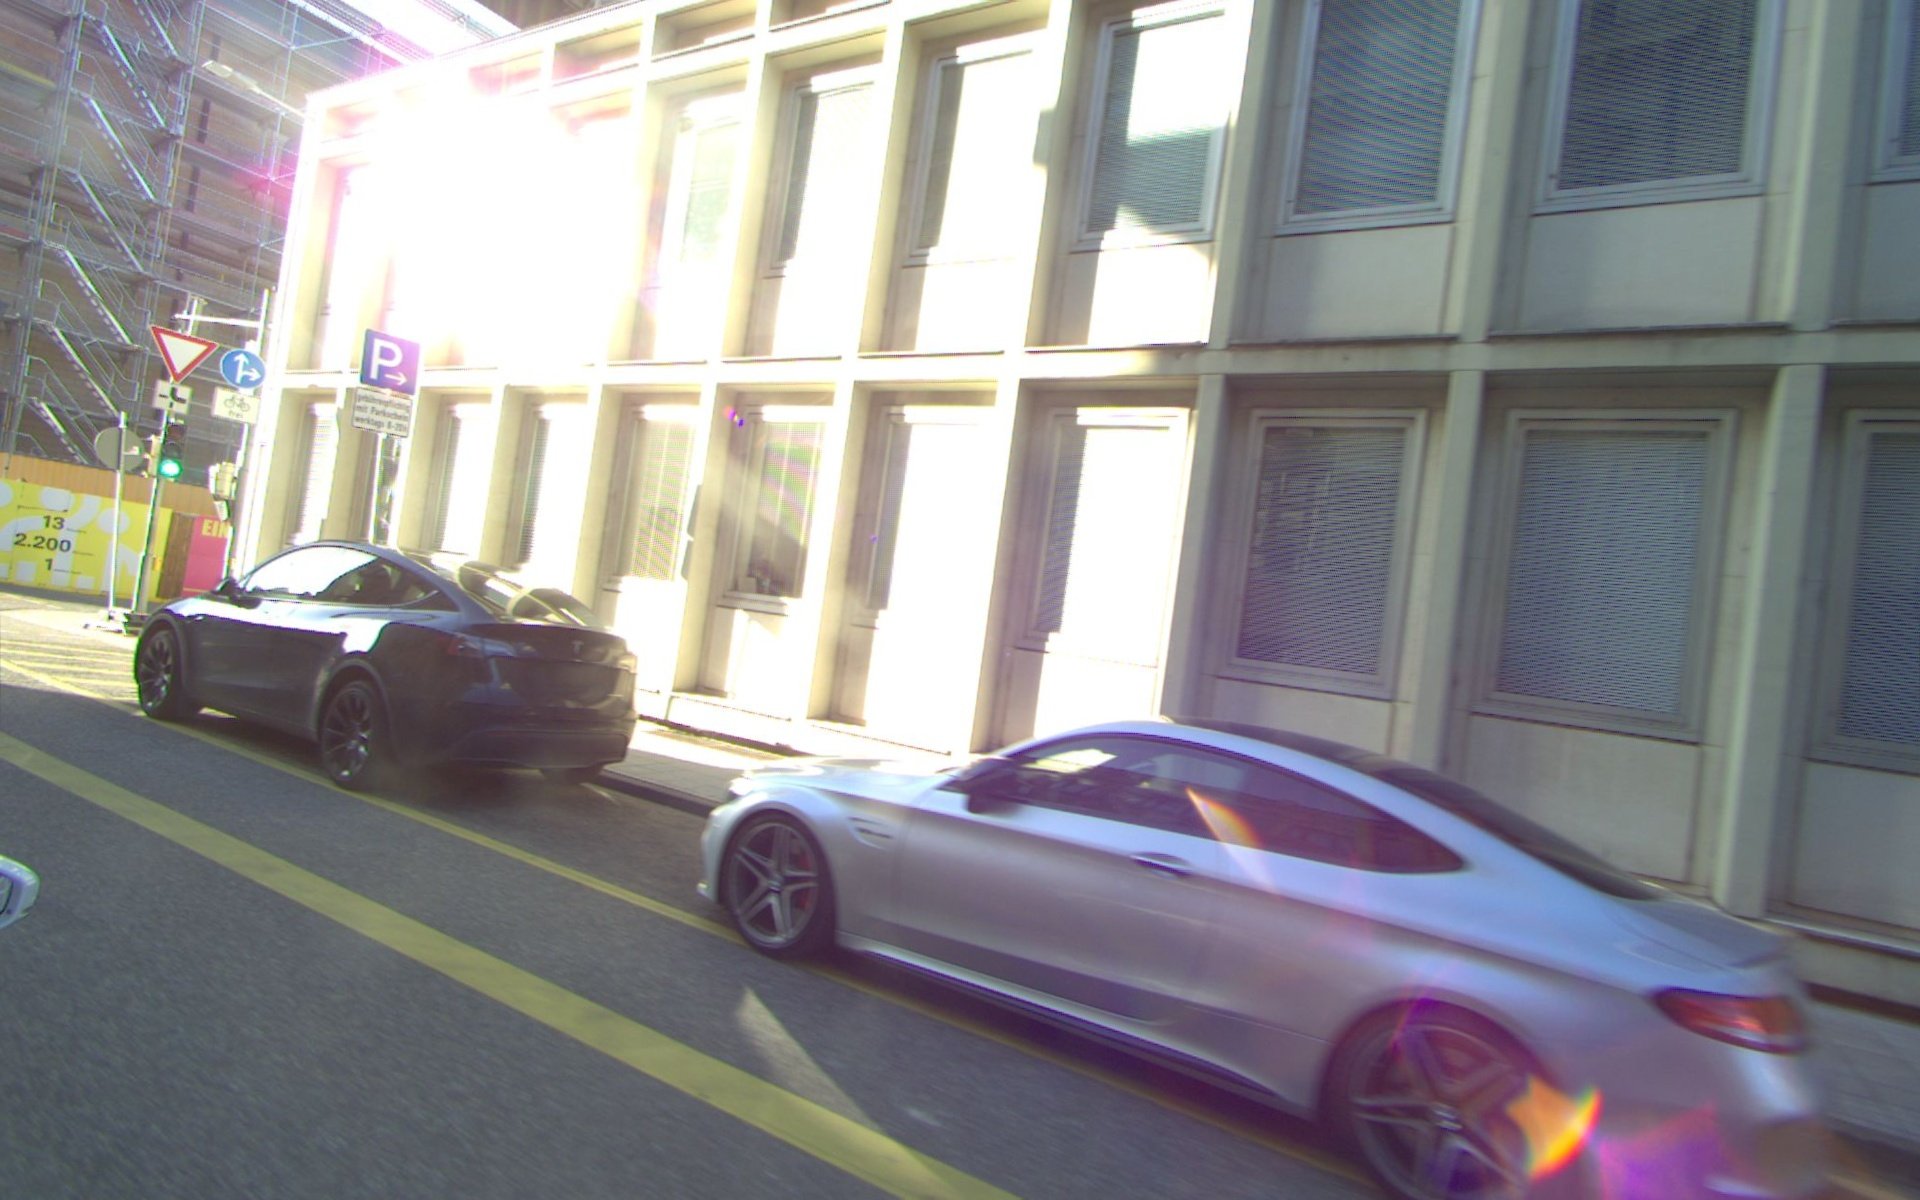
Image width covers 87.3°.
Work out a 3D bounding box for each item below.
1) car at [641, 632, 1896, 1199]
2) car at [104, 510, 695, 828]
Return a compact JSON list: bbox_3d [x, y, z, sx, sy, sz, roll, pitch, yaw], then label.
[{"bbox_3d":[0.832,1.154,4.470,4.524,1.359,1.700,7,-3,34],"label":"car"},{"bbox_3d":[-4.505,0.411,7.909,4.544,1.641,1.899,7,-3,31],"label":"car"}]
